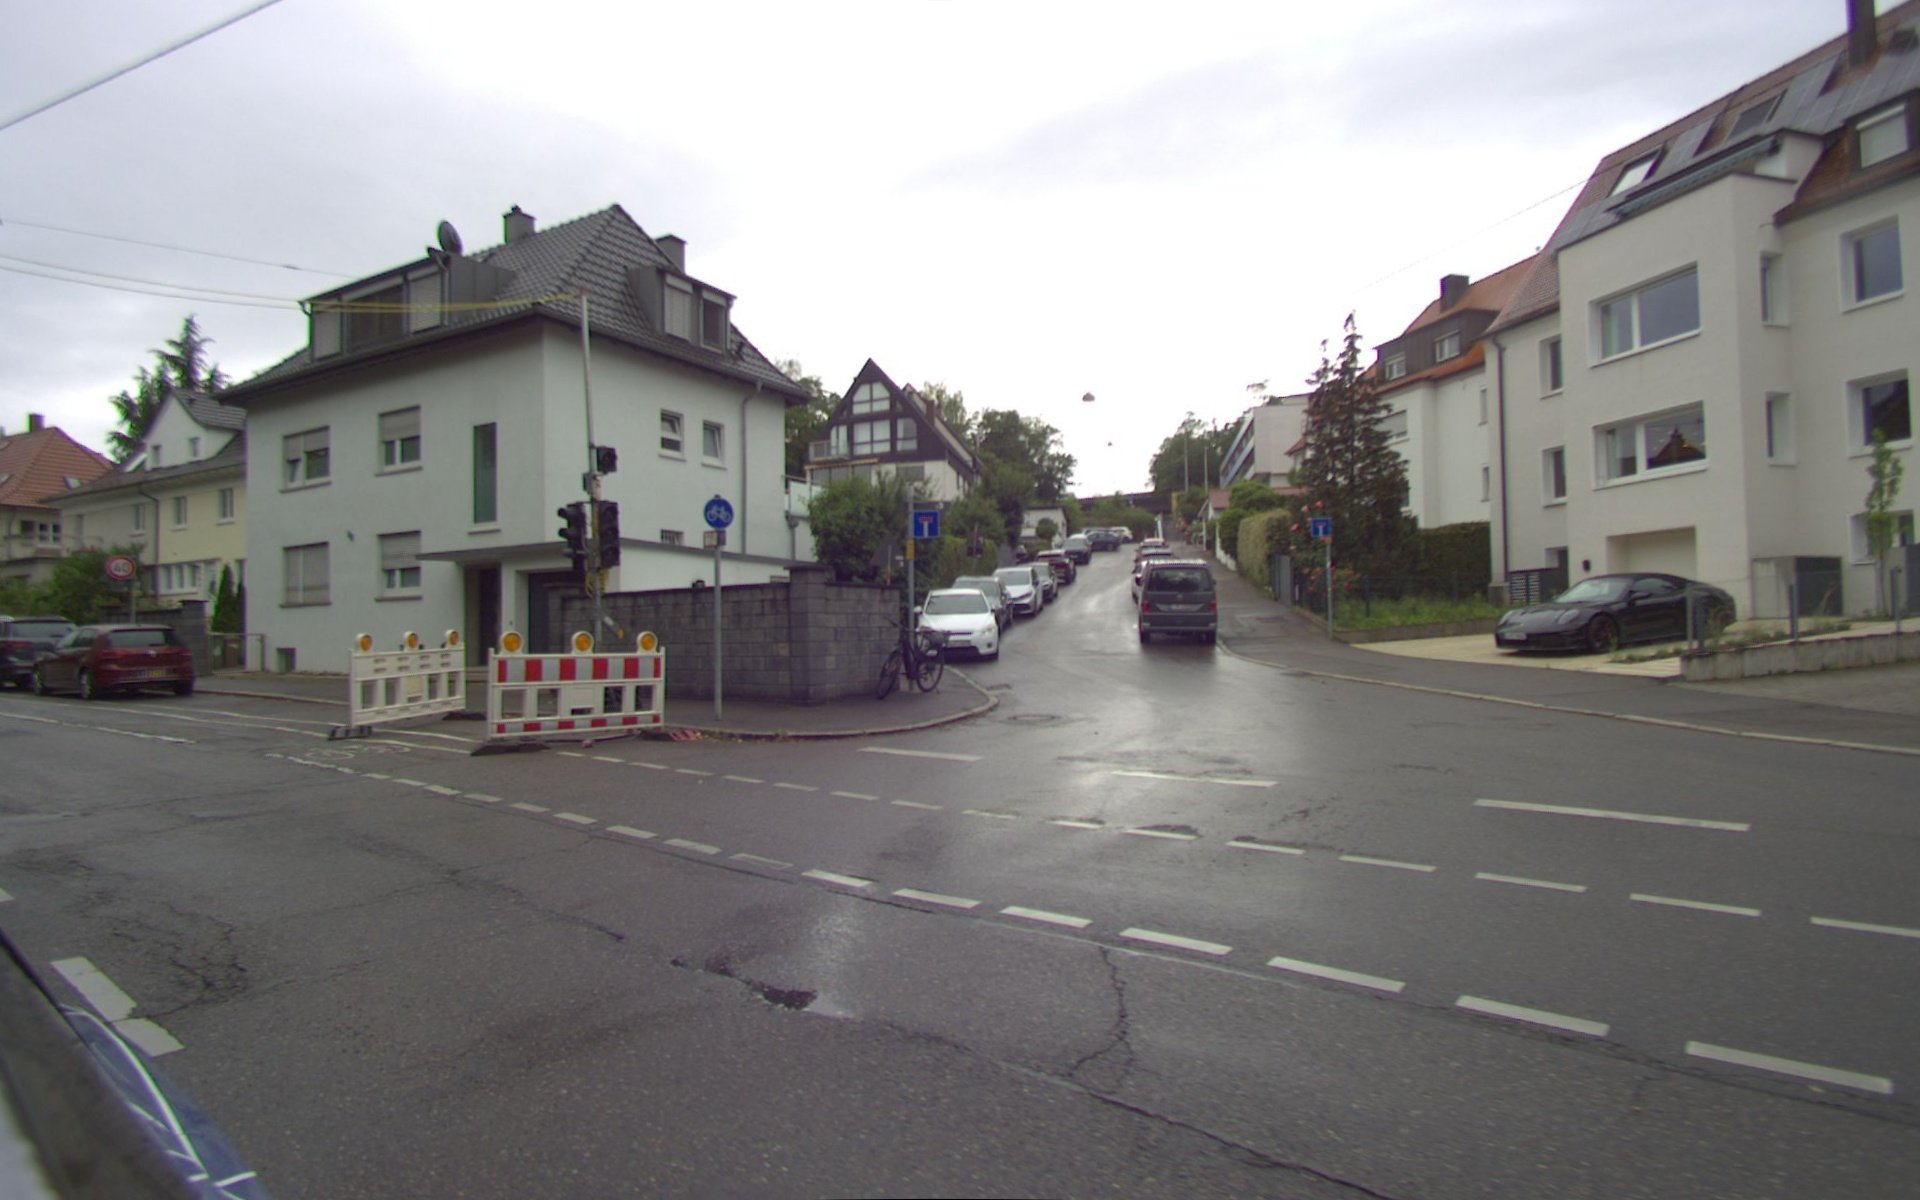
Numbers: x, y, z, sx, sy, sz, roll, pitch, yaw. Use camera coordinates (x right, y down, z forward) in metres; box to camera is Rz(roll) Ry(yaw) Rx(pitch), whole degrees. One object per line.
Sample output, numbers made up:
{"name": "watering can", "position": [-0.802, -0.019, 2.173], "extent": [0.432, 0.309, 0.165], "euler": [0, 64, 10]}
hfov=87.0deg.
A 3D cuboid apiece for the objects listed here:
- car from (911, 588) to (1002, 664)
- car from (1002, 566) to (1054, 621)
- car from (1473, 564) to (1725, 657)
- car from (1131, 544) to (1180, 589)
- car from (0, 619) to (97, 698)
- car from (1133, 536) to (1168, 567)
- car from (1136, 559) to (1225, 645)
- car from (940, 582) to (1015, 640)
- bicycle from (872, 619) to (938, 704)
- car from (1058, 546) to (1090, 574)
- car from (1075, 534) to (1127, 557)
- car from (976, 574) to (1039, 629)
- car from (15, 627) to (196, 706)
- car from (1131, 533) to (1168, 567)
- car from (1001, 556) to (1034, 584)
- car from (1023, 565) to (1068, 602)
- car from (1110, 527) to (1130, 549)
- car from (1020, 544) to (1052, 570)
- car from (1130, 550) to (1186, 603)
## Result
{"name": "car", "position": [-0.109, 0.513, 22.838], "extent": [1.864, 1.477, 4.001], "euler": [-1, 1, -1]}
{"name": "car", "position": [2.711, -0.290, 39.535], "extent": [1.868, 2.007, 3.993], "euler": [0, 1, 6]}
{"name": "car", "position": [11.601, 0.177, 18.433], "extent": [3.754, 1.519, 1.740], "euler": [-1, -1, -15]}
{"name": "car", "position": [8.050, -1.424, 42.019], "extent": [1.848, 1.758, 3.990], "euler": [0, 3, 9]}
{"name": "car", "position": [-22.018, 1.352, 23.209], "extent": [4.380, 1.671, 1.745], "euler": [-2, -3, 26]}
{"name": "car", "position": [11.175, -2.888, 59.510], "extent": [1.848, 1.758, 3.990], "euler": [0, 3, 9]}
{"name": "car", "position": [5.512, -0.032, 25.761], "extent": [1.977, 1.933, 3.990], "euler": [0, 3, 9]}
{"name": "car", "position": [0.563, 0.260, 28.876], "extent": [1.867, 1.477, 3.994], "euler": [0, 1, 5]}
{"name": "bicycle", "position": [-0.801, 0.885, 15.083], "extent": [0.460, 1.132, 1.509], "euler": [0, 1, 19]}
{"name": "car", "position": [7.315, -2.506, 64.646], "extent": [1.870, 1.733, 3.989], "euler": [0, 1, 9]}
{"name": "car", "position": [11.207, -4.298, 80.299], "extent": [3.958, 1.733, 1.885], "euler": [0, 1, 11]}
{"name": "car", "position": [1.637, 0.002, 33.699], "extent": [1.868, 1.733, 3.993], "euler": [0, 1, 6]}
{"name": "car", "position": [-17.506, 1.333, 20.685], "extent": [4.215, 1.451, 1.604], "euler": [-2, -2, 32]}
{"name": "car", "position": [10.270, -2.720, 54.982], "extent": [1.848, 1.758, 3.990], "euler": [0, 3, 9]}
{"name": "car", "position": [3.730, -1.952, 66.100], "extent": [1.864, 1.733, 4.001], "euler": [-1, 1, -1]}
{"name": "car", "position": [4.184, -0.812, 49.187], "extent": [1.870, 1.733, 3.989], "euler": [0, 1, 9]}
{"name": "car", "position": [15.982, -6.184, 101.018], "extent": [1.977, 2.028, 3.989], "euler": [0, 1, 9]}
{"name": "car", "position": [5.295, -2.985, 70.886], "extent": [1.864, 1.733, 4.001], "euler": [-1, 1, -1]}
{"name": "car", "position": [7.131, -0.892, 36.760], "extent": [1.848, 1.758, 3.990], "euler": [0, 3, 9]}
